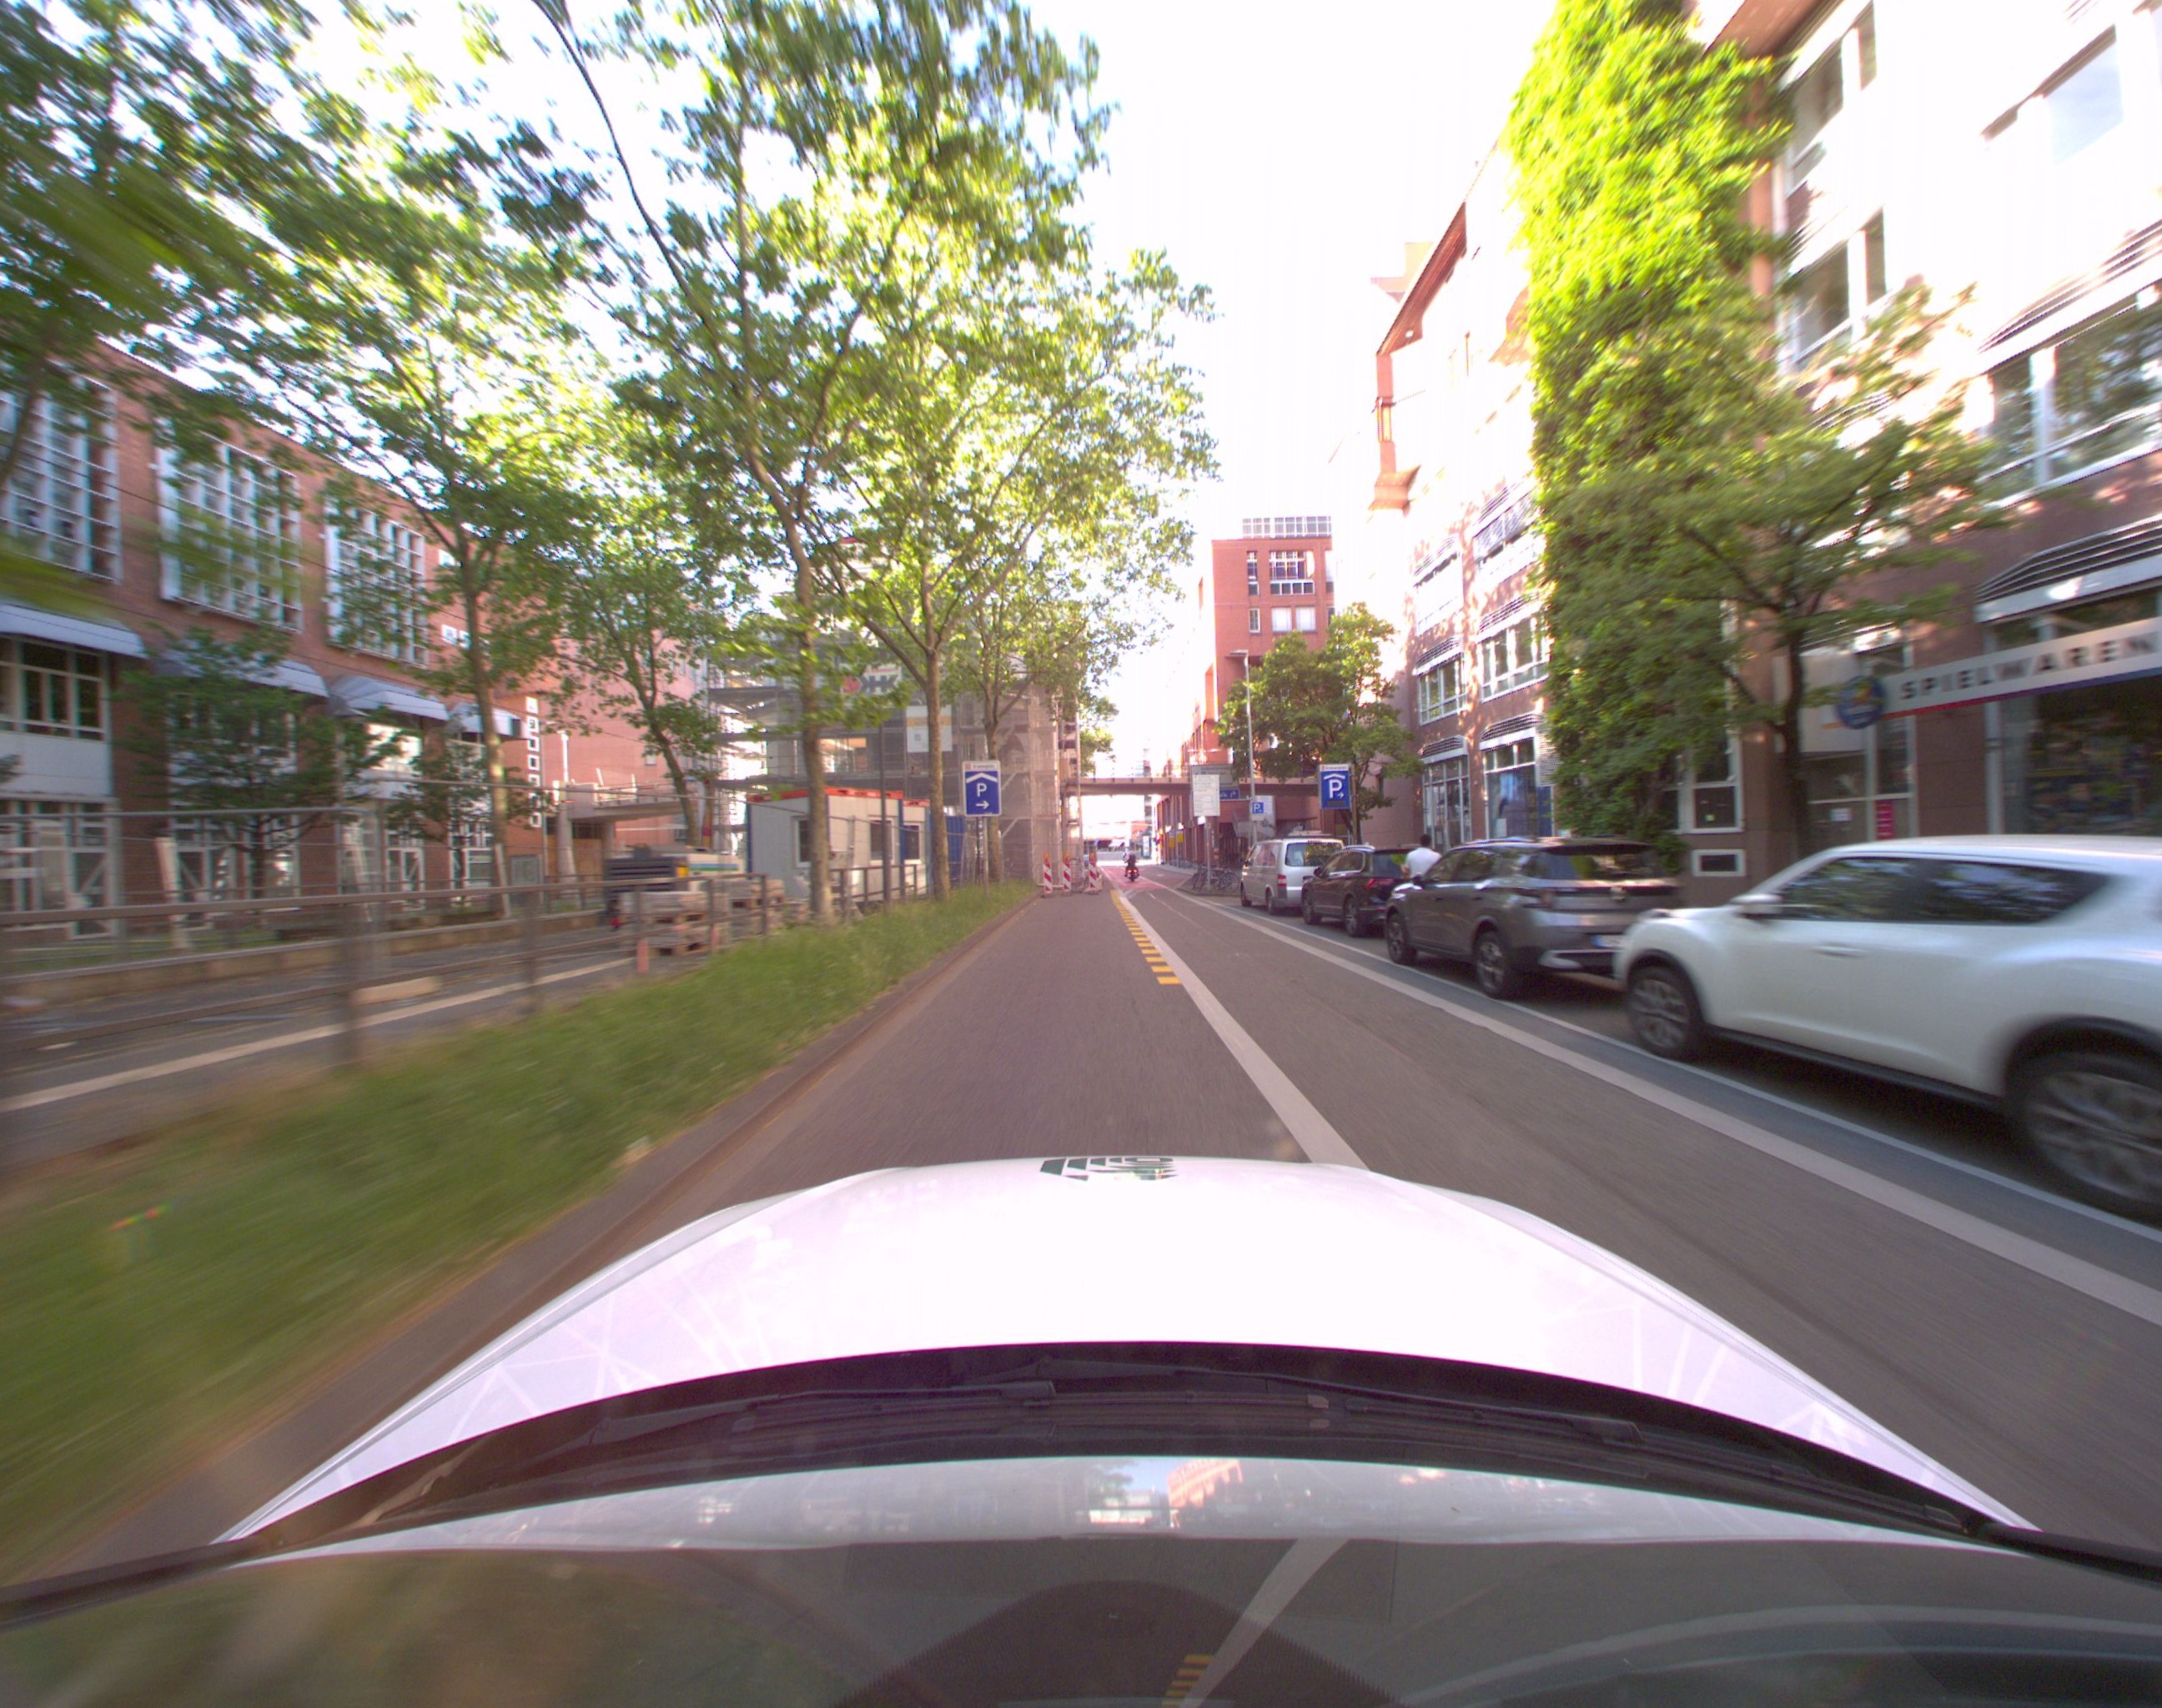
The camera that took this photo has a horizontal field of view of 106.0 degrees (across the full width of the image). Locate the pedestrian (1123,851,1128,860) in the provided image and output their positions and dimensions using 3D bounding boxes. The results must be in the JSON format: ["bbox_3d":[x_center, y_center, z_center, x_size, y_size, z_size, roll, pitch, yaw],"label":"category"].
[{"bbox_3d":[7.532,0.235,138.020,0.544,1.583,0.550,-2,0,-43],"label":"pedestrian"}]

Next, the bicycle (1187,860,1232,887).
[{"bbox_3d":[5.098,0.776,32.344,1.661,1.067,0.504,-1,0,34],"label":"bicycle"}]

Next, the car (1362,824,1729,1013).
[{"bbox_3d":[5.019,0.582,9.671,1.782,1.670,4.439,-2,0,0],"label":"car"}]

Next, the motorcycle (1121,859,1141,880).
[{"bbox_3d":[2.877,0.894,47.233,0.970,1.132,2.804,-1,0,0],"label":"motorcycle"}]

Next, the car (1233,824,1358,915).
[{"bbox_3d":[5.498,0.362,21.622,1.912,2.078,5.169,-2,0,0],"label":"car"}]

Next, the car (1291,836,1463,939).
[{"bbox_3d":[5.535,0.562,15.838,1.782,1.670,4.199,-2,0,0],"label":"car"}]

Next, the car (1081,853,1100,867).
[{"bbox_3d":[1.015,0.664,88.616,1.918,1.388,3.998,-2,0,-1],"label":"car"}]

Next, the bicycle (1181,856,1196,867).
[{"bbox_3d":[9.758,0.665,73.914,1.329,0.841,0.425,-4,0,1],"label":"bicycle"}]

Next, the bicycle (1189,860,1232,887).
[{"bbox_3d":[5.259,0.774,33.139,1.661,1.067,0.504,-1,0,34],"label":"bicycle"}]

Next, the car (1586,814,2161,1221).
[{"bbox_3d":[5.077,0.604,4.693,1.823,1.579,3.999,-2,0,0],"label":"car"}]

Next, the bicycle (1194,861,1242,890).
[{"bbox_3d":[5.060,0.796,30.105,1.662,1.067,0.514,-1,0,23],"label":"bicycle"}]

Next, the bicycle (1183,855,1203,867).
[{"bbox_3d":[9.790,0.625,71.163,1.605,0.955,0.555,-4,0,1],"label":"bicycle"}]

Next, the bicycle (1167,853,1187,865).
[{"bbox_3d":[9.685,0.478,82.164,1.885,1.119,0.475,-2,0,0],"label":"bicycle"}]

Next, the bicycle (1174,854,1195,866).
[{"bbox_3d":[9.944,0.575,78.124,1.885,1.119,0.550,-2,0,0],"label":"bicycle"}]

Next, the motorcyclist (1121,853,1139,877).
[{"bbox_3d":[2.865,0.634,47.393,0.967,1.347,1.137,-1,0,-1],"label":"motorcyclist"}]

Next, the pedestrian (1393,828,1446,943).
[{"bbox_3d":[5.520,0.495,13.264,0.654,1.812,0.720,-2,0,29],"label":"pedestrian"}]
